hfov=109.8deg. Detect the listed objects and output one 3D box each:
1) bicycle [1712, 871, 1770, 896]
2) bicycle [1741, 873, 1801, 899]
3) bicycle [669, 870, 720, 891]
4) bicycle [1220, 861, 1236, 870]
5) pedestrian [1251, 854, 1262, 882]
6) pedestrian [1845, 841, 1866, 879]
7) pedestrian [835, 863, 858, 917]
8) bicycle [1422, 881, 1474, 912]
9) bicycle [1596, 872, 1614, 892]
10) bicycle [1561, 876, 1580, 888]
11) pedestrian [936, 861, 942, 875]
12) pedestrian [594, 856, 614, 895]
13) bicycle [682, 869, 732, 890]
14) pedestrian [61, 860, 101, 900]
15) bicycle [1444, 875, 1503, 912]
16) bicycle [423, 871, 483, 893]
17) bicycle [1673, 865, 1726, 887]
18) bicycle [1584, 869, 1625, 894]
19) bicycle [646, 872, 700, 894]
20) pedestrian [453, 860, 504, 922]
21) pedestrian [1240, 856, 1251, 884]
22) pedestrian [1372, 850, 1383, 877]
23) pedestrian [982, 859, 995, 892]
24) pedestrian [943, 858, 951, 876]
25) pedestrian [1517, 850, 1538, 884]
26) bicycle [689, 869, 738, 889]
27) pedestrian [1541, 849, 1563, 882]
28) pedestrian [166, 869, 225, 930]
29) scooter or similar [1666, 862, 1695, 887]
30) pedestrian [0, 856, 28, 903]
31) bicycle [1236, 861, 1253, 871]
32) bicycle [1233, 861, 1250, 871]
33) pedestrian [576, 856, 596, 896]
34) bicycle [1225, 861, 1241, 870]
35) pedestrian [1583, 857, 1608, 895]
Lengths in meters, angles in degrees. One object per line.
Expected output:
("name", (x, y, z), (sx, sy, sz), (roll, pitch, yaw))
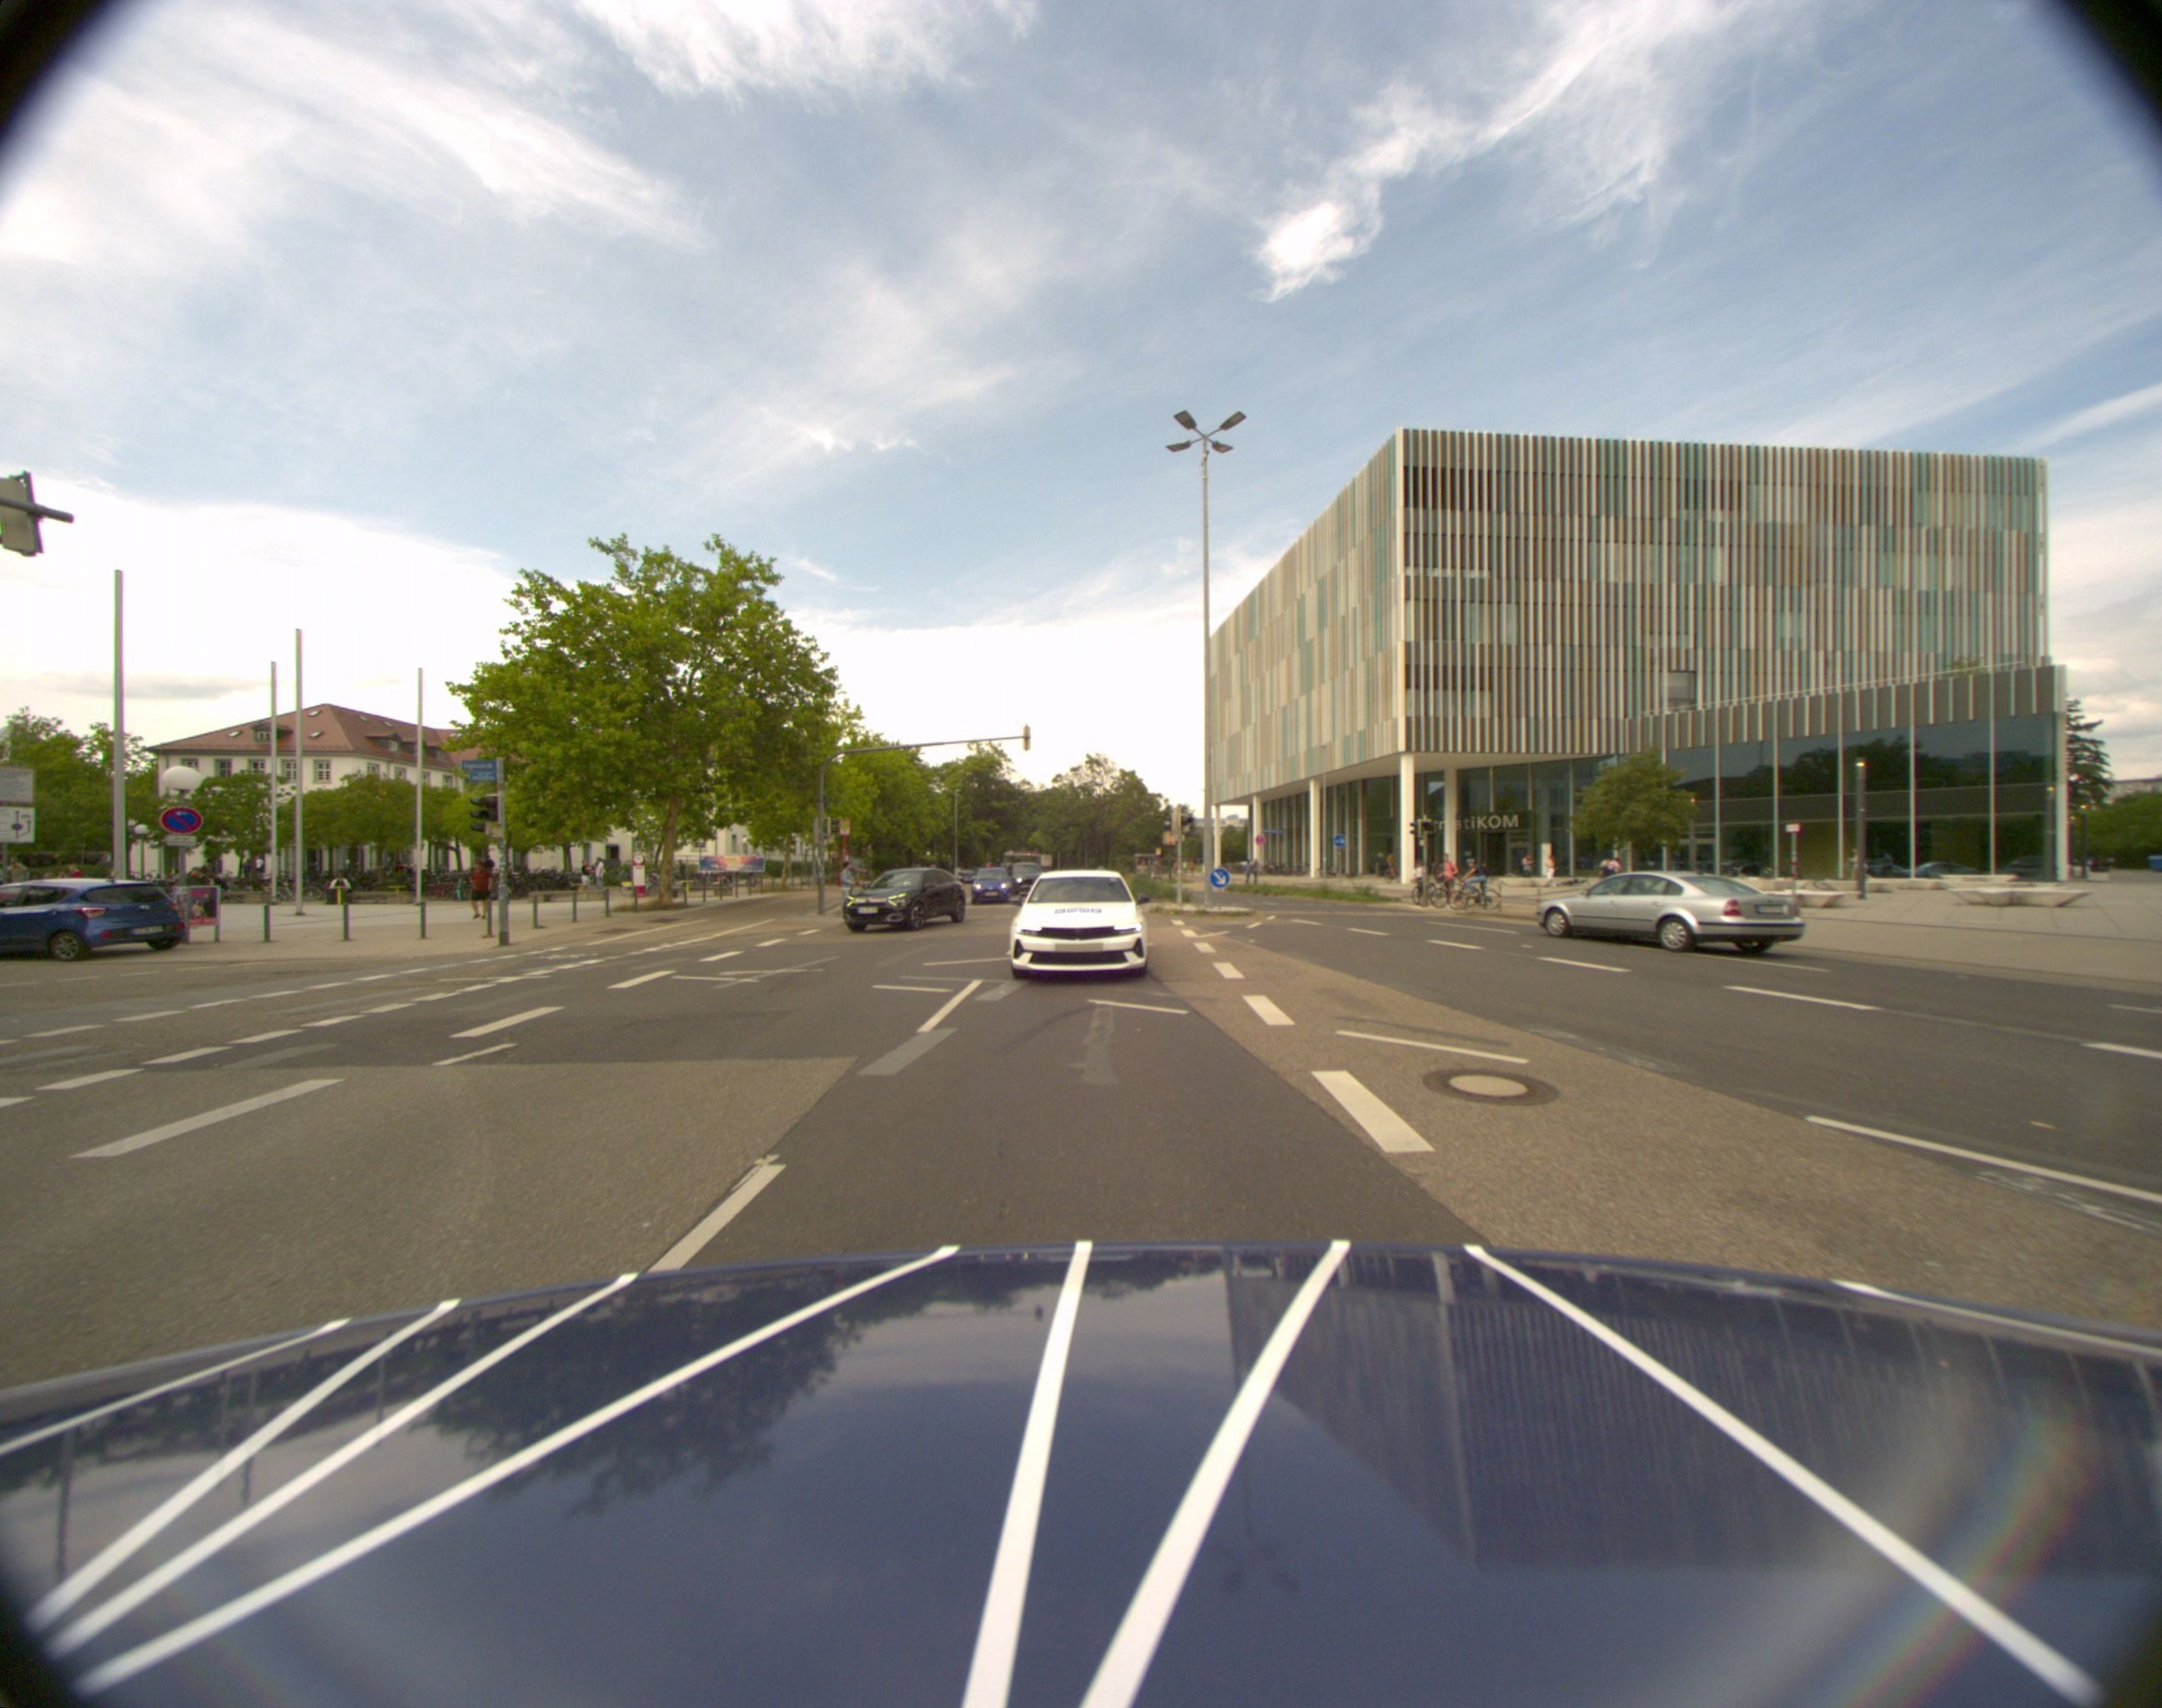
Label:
("bicycle", (30.471, 1.340, 35.086), (2.685, 1.083, 0.796), (0, 0, -20))
("bicycle", (30.761, 1.429, 33.884), (2.685, 1.083, 0.796), (0, 0, -20))
("bicycle", (-21.665, 1.473, 42.602), (2.473, 1.136, 0.717), (-1, 0, -3))
("bicycle", (16.965, 1.298, 87.737), (1.704, 1.017, 0.434), (-2, 0, -10))
("pedestrian", (11.770, 0.942, 51.012), (0.512, 1.826, 0.624), (-1, -1, -5))
("pedestrian", (36.336, 0.279, 35.660), (0.635, 1.768, 0.598), (0, 0, 41))
("pedestrian", (-7.930, 1.210, 25.730), (0.574, 1.806, 0.681), (-1, 0, -2))
("bicycle", (12.794, 1.463, 26.467), (1.693, 0.983, 0.571), (-2, 1, -18))
("bicycle", (26.884, 1.432, 38.961), (0.622, 0.979, 2.255), (-1, 0, 38))
("bicycle", (25.672, 1.457, 39.847), (0.622, 0.518, 2.255), (-1, 0, 38))
("pedestrian", (-15.479, 1.509, 82.883), (0.646, 1.556, 0.804), (-1, 0, -6))
("pedestrian", (-24.226, 1.094, 38.553), (0.687, 1.951, 0.601), (-2, 1, -44))
("bicycle", (-21.399, 1.457, 43.537), (2.473, 1.136, 0.717), (-1, 0, -3))
("pedestrian", (-40.851, 1.047, 31.046), (0.728, 1.587, 0.601), (-2, 0, -17))
("bicycle", (12.944, 1.295, 25.052), (1.897, 1.163, 0.606), (0, 0, -20))
("bicycle", (-33.402, 1.471, 40.421), (2.473, 1.136, 0.717), (-1, 0, -3))
("bicycle", (29.522, 1.052, 36.241), (2.685, 0.993, 0.672), (-1, 0, -20))
("bicycle", (21.876, 1.142, 31.780), (0.440, 0.993, 1.748), (-1, 0, -2))
("bicycle", (-21.911, 1.543, 40.812), (2.473, 1.136, 0.717), (-1, 0, -3))
("pedestrian", (-18.124, 1.105, 22.870), (0.769, 1.794, 0.891), (-2, 0, 0))
("pedestrian", (10.960, 1.064, 50.705), (0.512, 1.826, 0.772), (-1, -1, -5))
("pedestrian", (22.607, 0.733, 57.991), (0.512, 2.031, 0.624), (-1, -1, -6))
("pedestrian", (-5.215, 1.202, 42.908), (0.727, 1.842, 1.064), (-1, 0, -7))
("pedestrian", (-14.685, 1.411, 83.042), (0.798, 1.922, 0.760), (-1, 0, -5))
("pedestrian", (22.504, 0.653, 38.290), (0.732, 1.730, 0.677), (-1, 0, -38))
("bicycle", (-21.420, 1.454, 44.359), (2.473, 1.136, 0.717), (-1, 0, -3))
("pedestrian", (23.363, 0.578, 37.687), (0.731, 1.591, 0.677), (-1, 0, -35))
("pedestrian", (-25.570, 1.313, 21.944), (0.953, 1.698, 0.702), (-2, 0, 14))
("scooter or similar", (29.481, 0.997, 37.348), (2.129, 1.191, 0.594), (0, 0, -36))
("pedestrian", (-42.807, 1.020, 30.277), (0.728, 1.833, 0.601), (-2, 0, -19))
("bicycle", (17.376, 1.309, 80.908), (1.704, 1.017, 0.434), (-2, 0, -10))
("bicycle", (17.283, 1.302, 81.754), (1.704, 1.017, 0.434), (-2, 0, -10))
("pedestrian", (-24.775, 1.080, 38.022), (0.687, 1.951, 0.601), (-2, 1, -44))
("bicycle", (17.082, 1.300, 85.380), (1.704, 1.017, 0.434), (-2, 0, -10))
("pedestrian", (21.368, 0.918, 31.574), (0.652, 1.571, 0.574), (0, 0, 0))
